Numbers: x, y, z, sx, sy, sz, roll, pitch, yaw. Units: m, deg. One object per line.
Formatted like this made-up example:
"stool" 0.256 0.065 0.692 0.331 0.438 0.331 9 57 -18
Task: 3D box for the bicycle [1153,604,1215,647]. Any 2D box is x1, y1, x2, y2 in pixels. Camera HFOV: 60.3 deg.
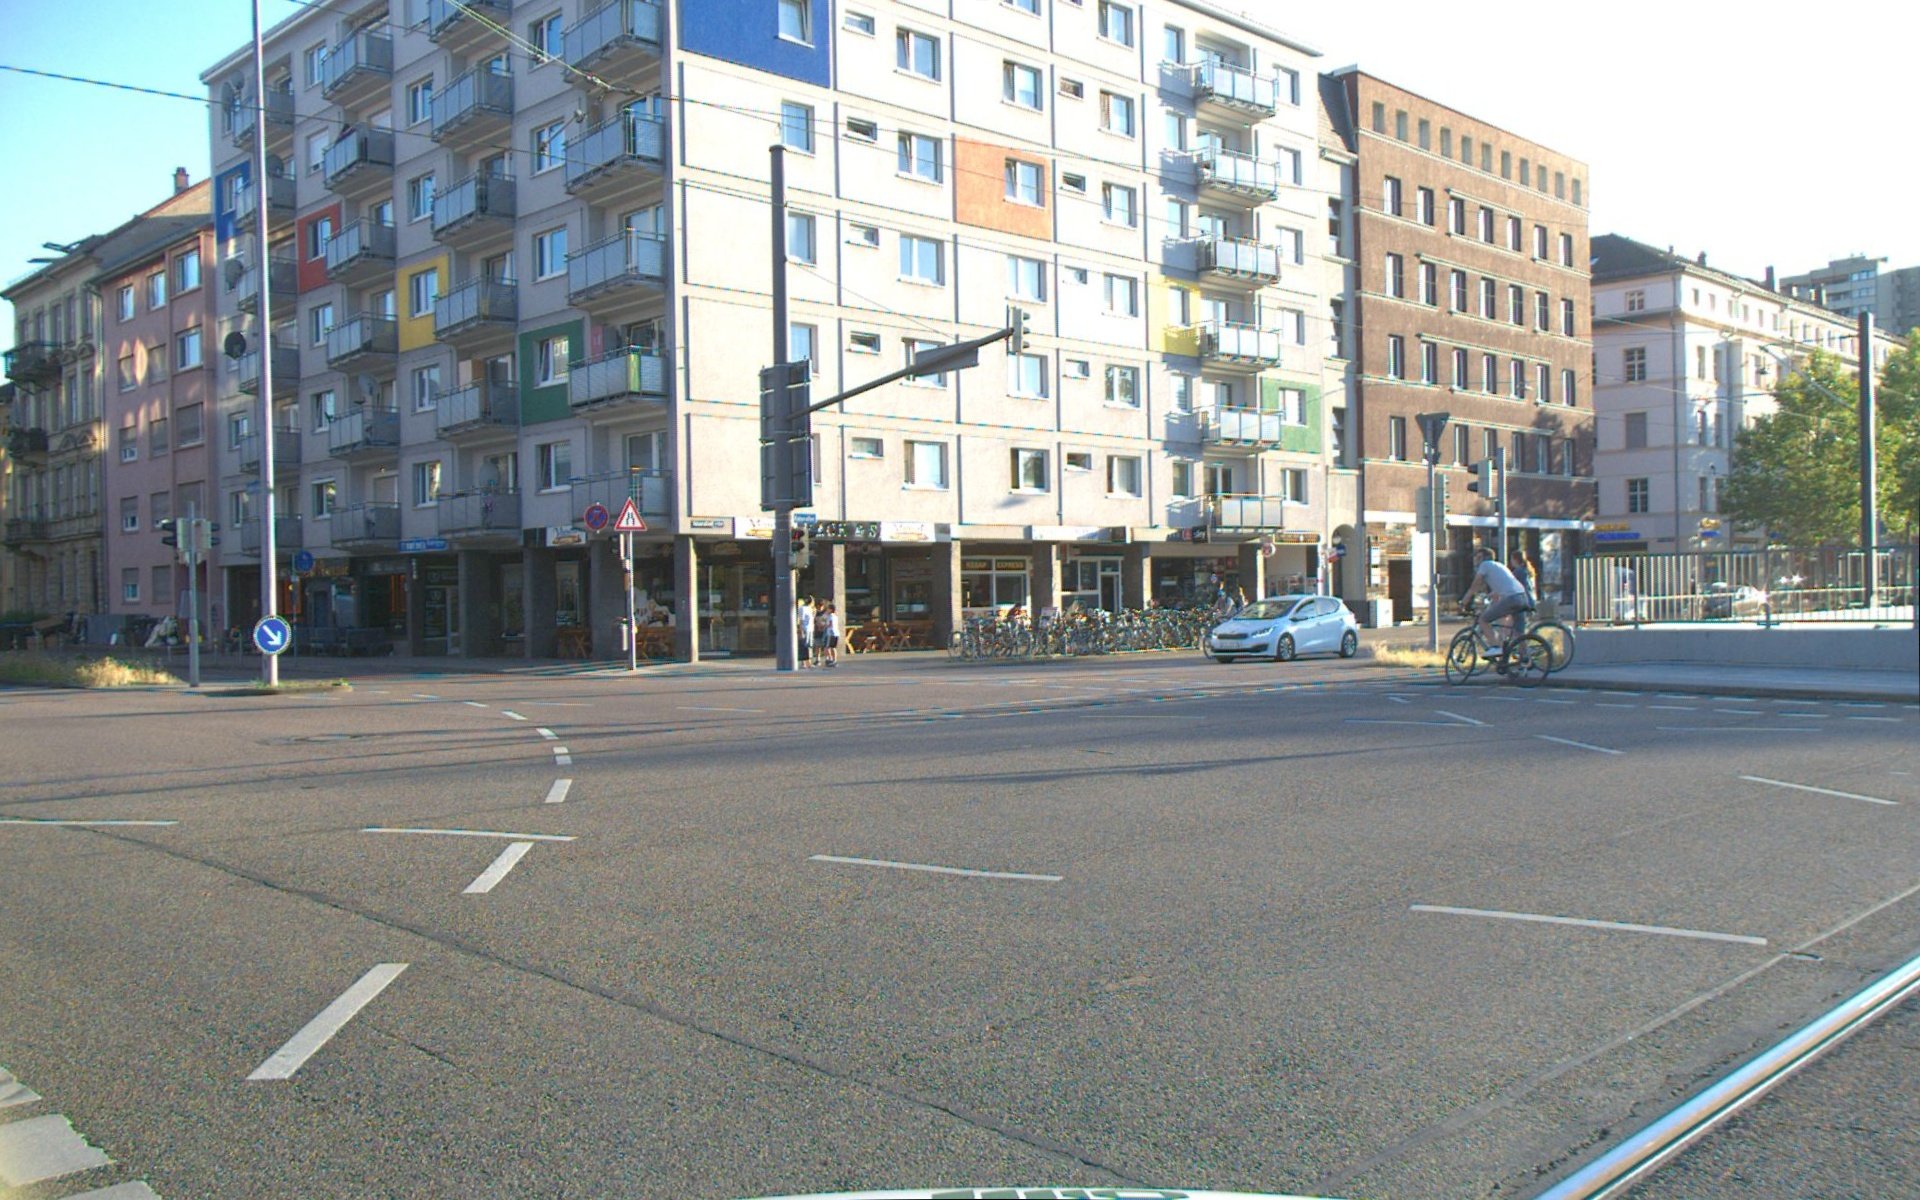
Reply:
"bicycle" 6.298 0.713 46.490 0.700 1.173 1.669 -1 0 -43

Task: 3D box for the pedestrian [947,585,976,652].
"pedestrian" 0.043 0.486 42.875 0.538 1.713 0.577 -1 0 -24

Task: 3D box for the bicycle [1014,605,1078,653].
"bicycle" 2.187 0.734 42.395 0.536 1.188 1.742 -1 0 -44

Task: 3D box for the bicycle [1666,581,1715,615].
"bicycle" 27.464 -0.071 62.147 2.393 1.222 0.802 -2 1 -44

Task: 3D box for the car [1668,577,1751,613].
"car" 31.925 -0.206 70.409 3.966 1.445 1.797 -2 1 -42

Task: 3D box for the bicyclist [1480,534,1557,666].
"bicyclist" 8.141 0.007 24.100 0.860 1.850 0.537 -4 -1 31

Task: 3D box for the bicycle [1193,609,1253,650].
"bicycle" 7.664 0.842 48.295 0.691 1.164 1.669 -1 0 -43

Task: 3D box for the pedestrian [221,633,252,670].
"pedestrian" -25.460 1.806 58.206 0.779 1.278 0.709 -2 0 42

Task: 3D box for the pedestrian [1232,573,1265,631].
"pedestrian" 9.435 0.075 54.087 0.773 1.873 0.732 -1 0 36

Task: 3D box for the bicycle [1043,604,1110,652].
"bicycle" 3.034 0.729 43.291 1.764 1.212 0.647 0 0 45

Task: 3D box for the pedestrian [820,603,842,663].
"pedestrian" -3.020 0.772 38.720 0.373 1.407 0.396 -1 0 17

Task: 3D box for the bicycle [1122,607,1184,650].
"bicycle" 5.317 0.775 45.586 0.564 1.139 1.738 -1 0 -44

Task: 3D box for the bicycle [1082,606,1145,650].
"bicycle" 4.177 0.759 45.067 0.601 1.155 1.748 -1 0 -44

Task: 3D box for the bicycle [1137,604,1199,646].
"bicycle" 5.776 0.674 46.033 0.629 1.144 1.705 0 0 -43

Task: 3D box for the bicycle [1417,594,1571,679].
"bicycle" 7.178 0.477 22.287 1.870 1.094 0.629 -1 0 38

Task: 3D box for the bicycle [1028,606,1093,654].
"bicycle" 2.597 0.758 42.810 0.564 1.202 1.745 -1 0 -45

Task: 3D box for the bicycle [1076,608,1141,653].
"bicycle" 3.969 0.800 44.374 0.601 1.179 1.752 -1 0 -45

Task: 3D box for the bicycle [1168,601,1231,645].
"bicycle" 6.798 0.644 47.024 0.742 1.199 1.669 -1 0 -43

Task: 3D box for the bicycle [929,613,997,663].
"bicycle" 0.070 0.942 41.525 1.770 1.229 0.634 0 0 45

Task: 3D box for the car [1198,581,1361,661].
"car" 7.254 0.442 37.338 3.970 1.646 1.667 -2 0 -45

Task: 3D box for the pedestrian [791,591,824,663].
"pedestrian" -3.511 0.620 38.117 0.559 1.648 0.604 -1 0 14

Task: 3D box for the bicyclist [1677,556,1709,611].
"bicyclist" 27.601 -0.631 62.256 0.916 2.049 0.787 -1 0 -43

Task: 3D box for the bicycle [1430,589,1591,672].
"bicycle" 8.032 0.452 24.172 2.124 1.102 0.538 -4 -1 31

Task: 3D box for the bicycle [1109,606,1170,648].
"bicycle" 4.894 0.729 45.185 0.547 1.136 1.732 -1 0 -44

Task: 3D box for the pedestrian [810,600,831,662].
"pedestrian" -3.315 0.735 39.311 0.369 1.474 0.395 -1 0 17

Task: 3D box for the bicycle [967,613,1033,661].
"bicycle" 0.998 0.927 42.005 0.604 1.162 1.753 -1 0 -45

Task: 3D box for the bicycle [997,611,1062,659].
"bicycle" 1.756 0.880 42.076 0.595 1.159 1.734 -1 0 -44

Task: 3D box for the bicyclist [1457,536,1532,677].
"bicyclist" 7.191 0.080 22.252 0.780 1.850 0.643 -1 0 37

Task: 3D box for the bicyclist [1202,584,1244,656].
"bicyclist" 6.650 0.496 41.849 0.782 1.773 0.695 -1 0 -34

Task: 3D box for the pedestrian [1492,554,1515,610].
"pedestrian" 21.889 -0.724 66.587 0.593 2.216 0.786 -1 0 44

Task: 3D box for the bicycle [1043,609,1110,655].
"bicycle" 3.108 0.837 44.253 0.635 1.181 1.806 -1 0 -45

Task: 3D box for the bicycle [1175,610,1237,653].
"bicycle" 7.111 0.899 47.824 0.742 1.190 1.669 -1 0 -43

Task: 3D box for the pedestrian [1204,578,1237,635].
"pedestrian" 8.596 0.217 54.555 0.812 1.844 0.718 -1 0 34
